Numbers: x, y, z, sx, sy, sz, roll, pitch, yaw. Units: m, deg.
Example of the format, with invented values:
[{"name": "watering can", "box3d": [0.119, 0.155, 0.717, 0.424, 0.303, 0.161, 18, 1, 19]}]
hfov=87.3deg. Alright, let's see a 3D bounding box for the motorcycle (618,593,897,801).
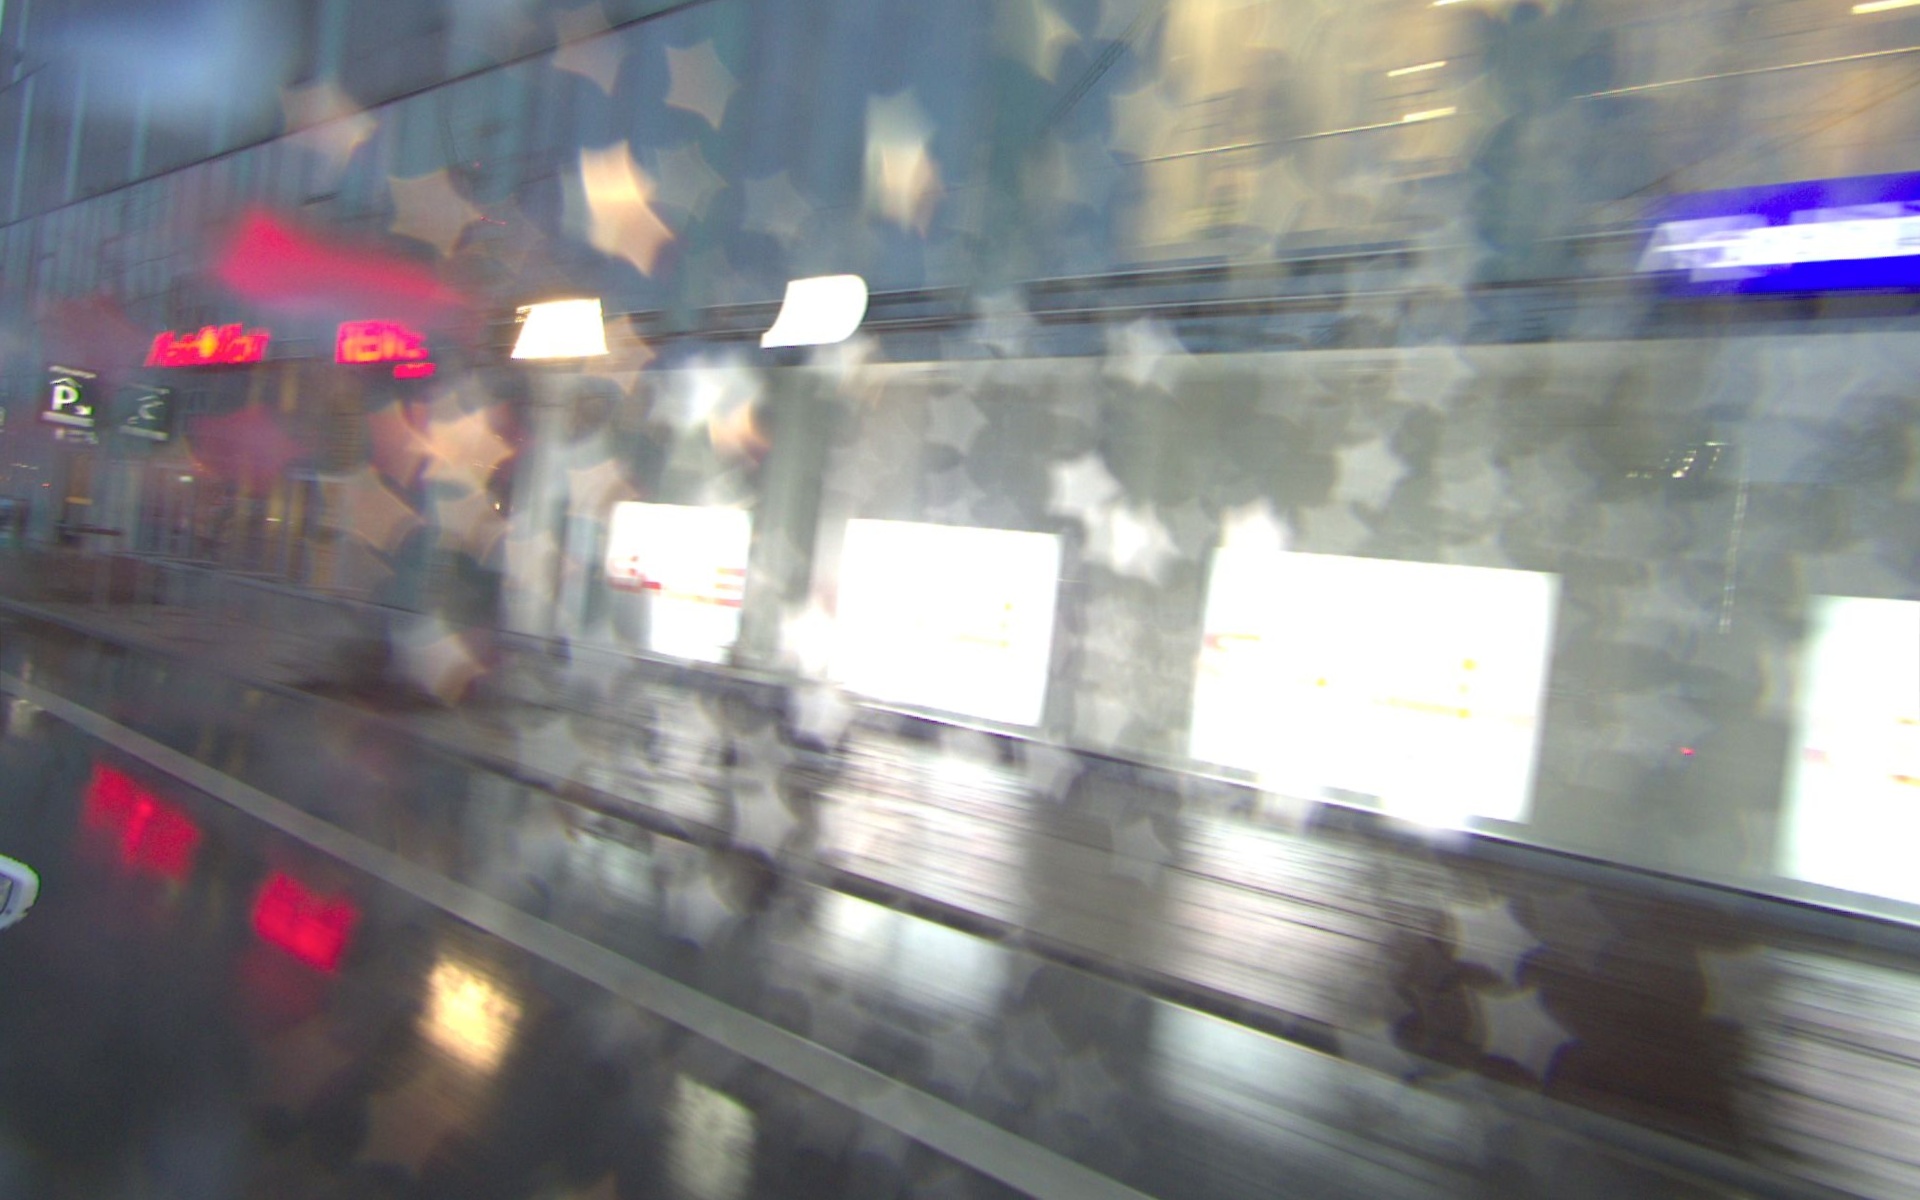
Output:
[{"name": "motorcycle", "box3d": [-1.526, 0.739, 7.640, 1.881, 1.350, 0.593, 7, 0, -17]}]
